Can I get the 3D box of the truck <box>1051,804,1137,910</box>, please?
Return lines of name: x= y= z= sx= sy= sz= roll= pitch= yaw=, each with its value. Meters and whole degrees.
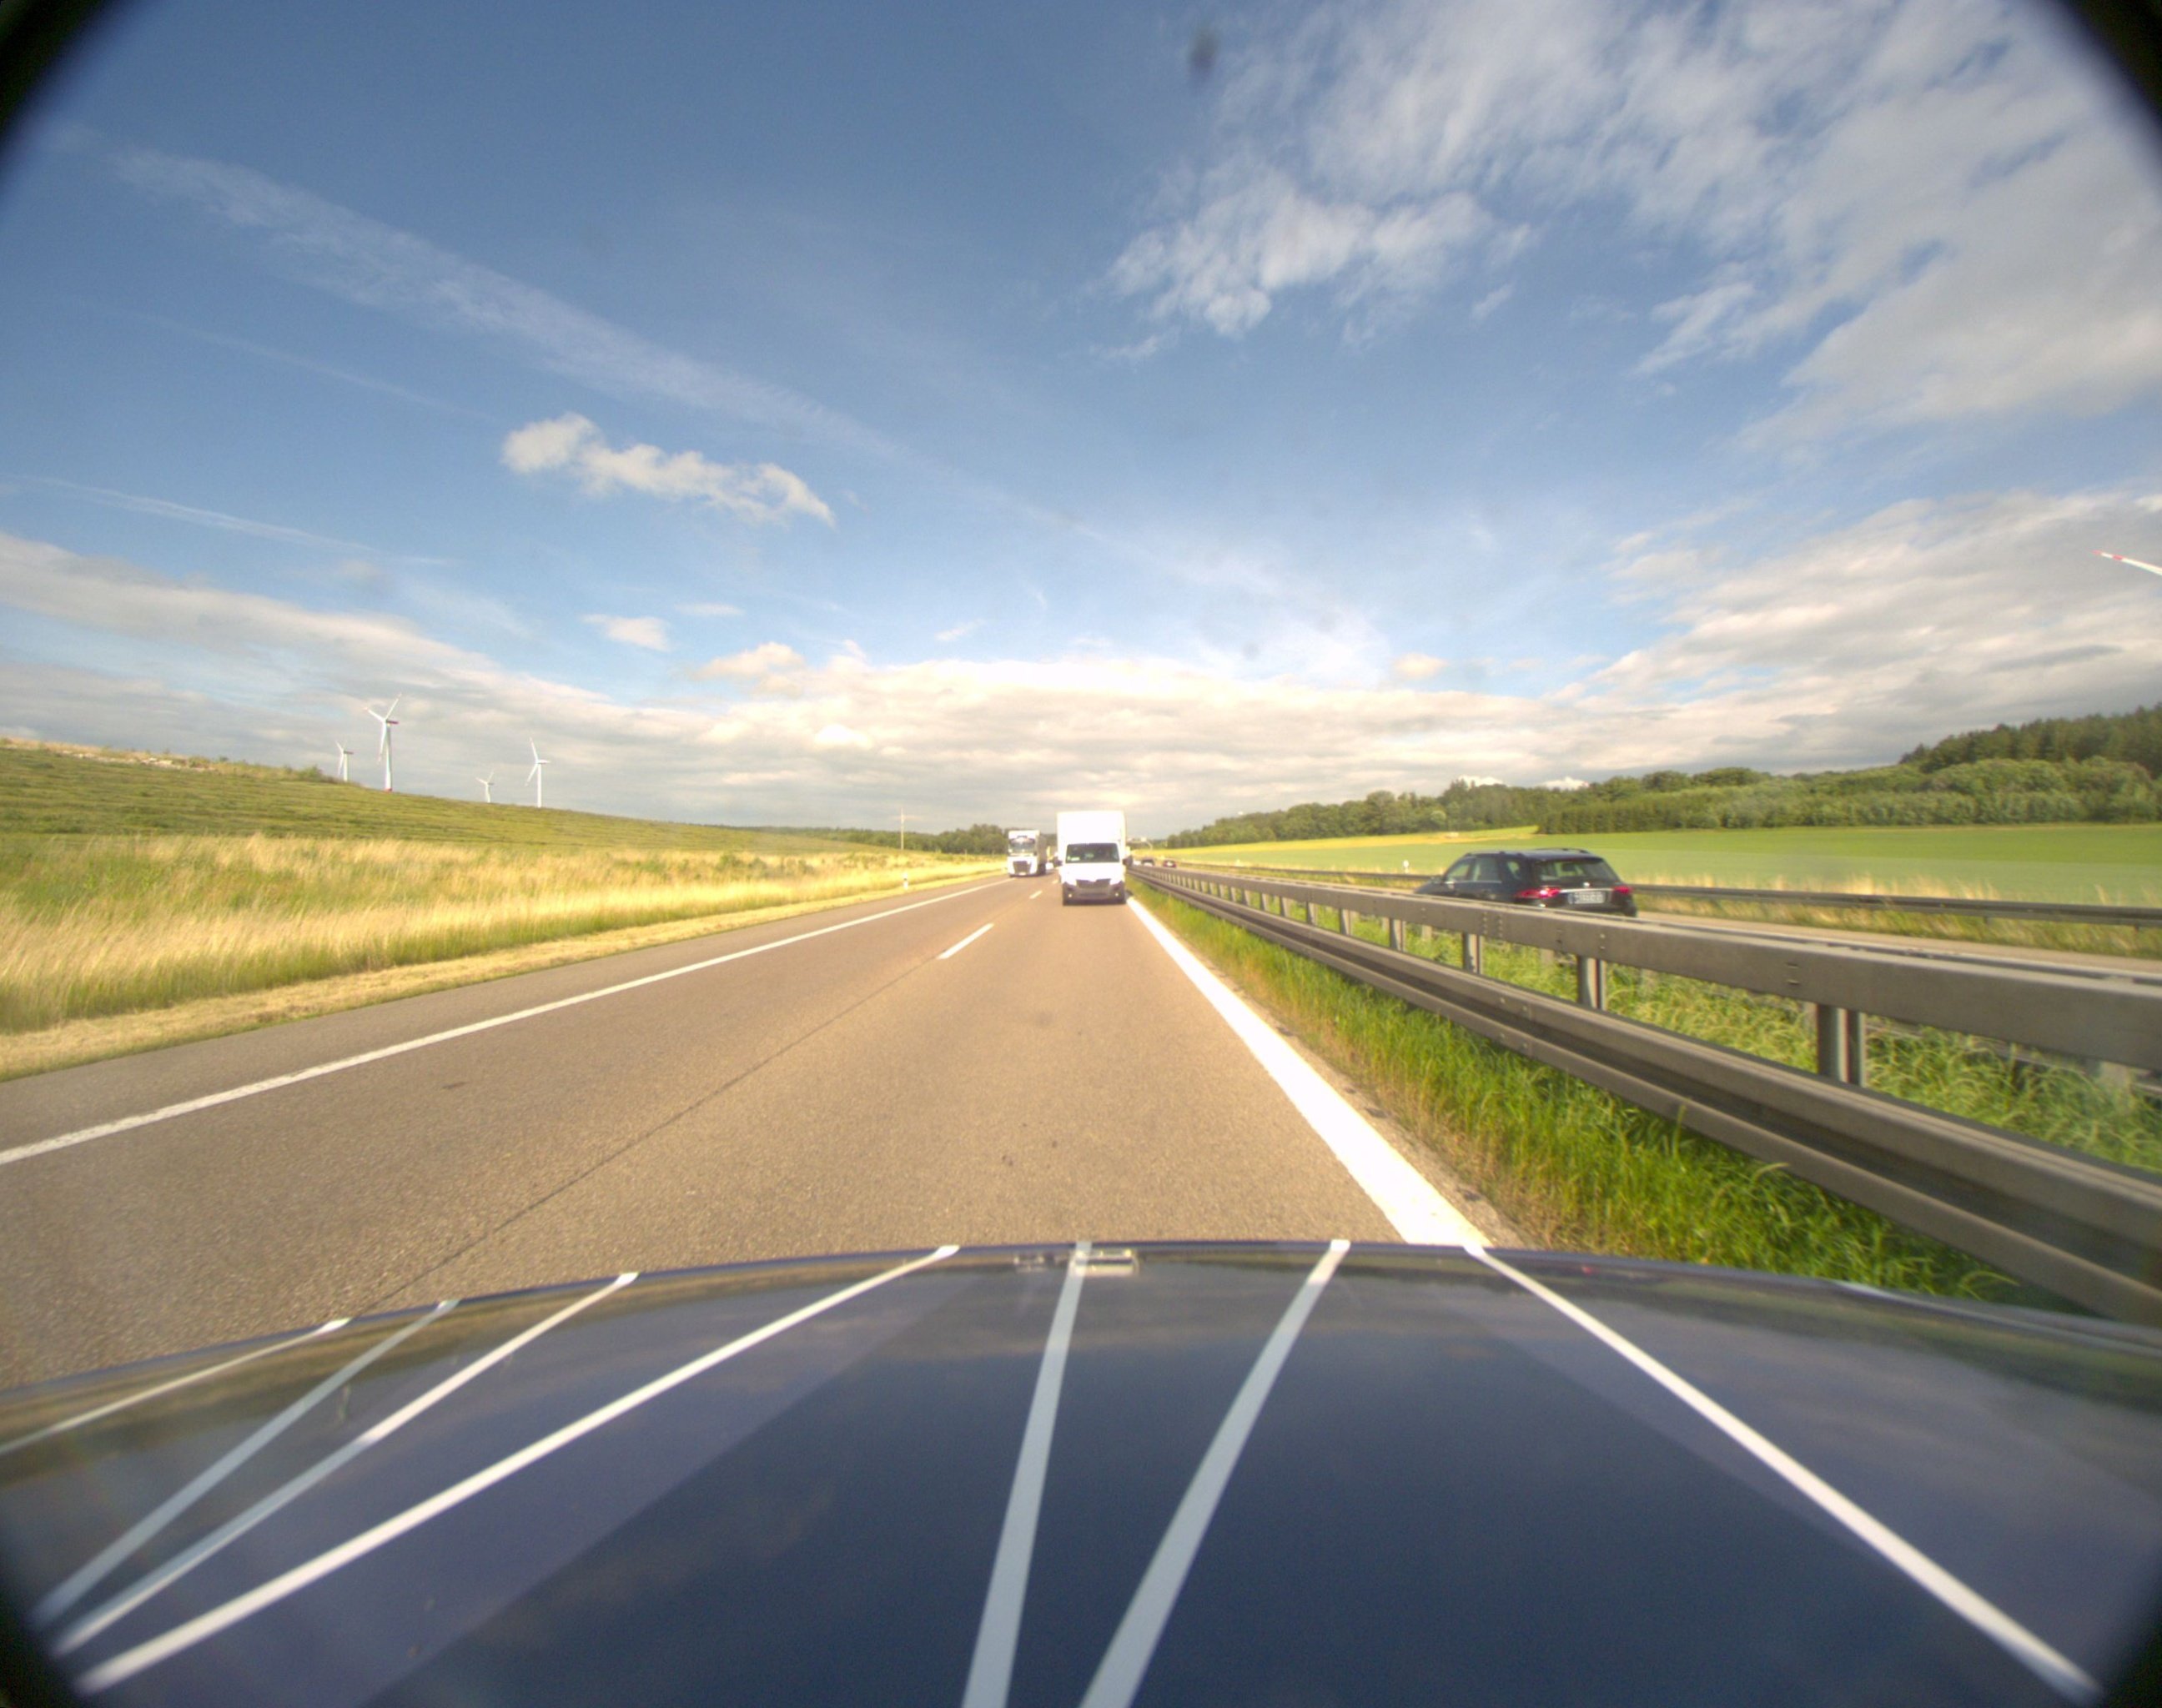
truck: x=0.410 y=0.131 z=28.638 sx=2.502 sy=3.141 sz=11.163 roll=-2 pitch=0 yaw=0

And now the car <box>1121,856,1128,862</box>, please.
car: x=11.169 y=1.230 z=196.485 sx=1.619 sy=1.512 sz=3.999 roll=-2 pitch=1 yaw=0

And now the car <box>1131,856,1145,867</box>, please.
car: x=8.801 y=1.133 z=117.869 sx=1.754 sy=1.512 sz=4.479 roll=-2 pitch=1 yaw=0

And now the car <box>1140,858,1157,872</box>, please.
car: x=8.223 y=1.361 z=92.814 sx=1.754 sy=1.594 sz=4.265 roll=-2 pitch=1 yaw=0

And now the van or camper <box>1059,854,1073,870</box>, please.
van or camper: x=-2.583 y=1.273 z=130.558 sx=2.102 sy=2.530 sz=6.412 roll=-2 pitch=1 yaw=1

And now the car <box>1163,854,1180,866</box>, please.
car: x=12.442 y=0.781 z=104.970 sx=1.754 sy=1.470 sz=4.479 roll=-2 pitch=1 yaw=0

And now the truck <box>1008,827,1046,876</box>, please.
truck: x=-4.657 y=-0.297 z=66.673 sx=2.607 sy=4.018 sz=6.118 roll=-2 pitch=1 yaw=1

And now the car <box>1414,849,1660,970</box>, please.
car: x=7.824 y=0.831 z=13.633 sx=1.827 sy=1.759 sz=4.363 roll=-2 pitch=1 yaw=1

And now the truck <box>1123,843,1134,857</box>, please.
truck: x=15.928 y=-1.385 z=255.779 sx=2.887 sy=4.607 sz=13.422 roll=-2 pitch=1 yaw=1

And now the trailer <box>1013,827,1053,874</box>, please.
trailer: x=-4.503 y=-0.447 z=74.318 sx=2.623 sy=4.018 sz=13.696 roll=-2 pitch=1 yaw=1

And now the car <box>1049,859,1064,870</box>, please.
car: x=-3.390 y=1.410 z=104.862 sx=1.871 sy=1.409 sz=4.461 roll=-2 pitch=1 yaw=1
